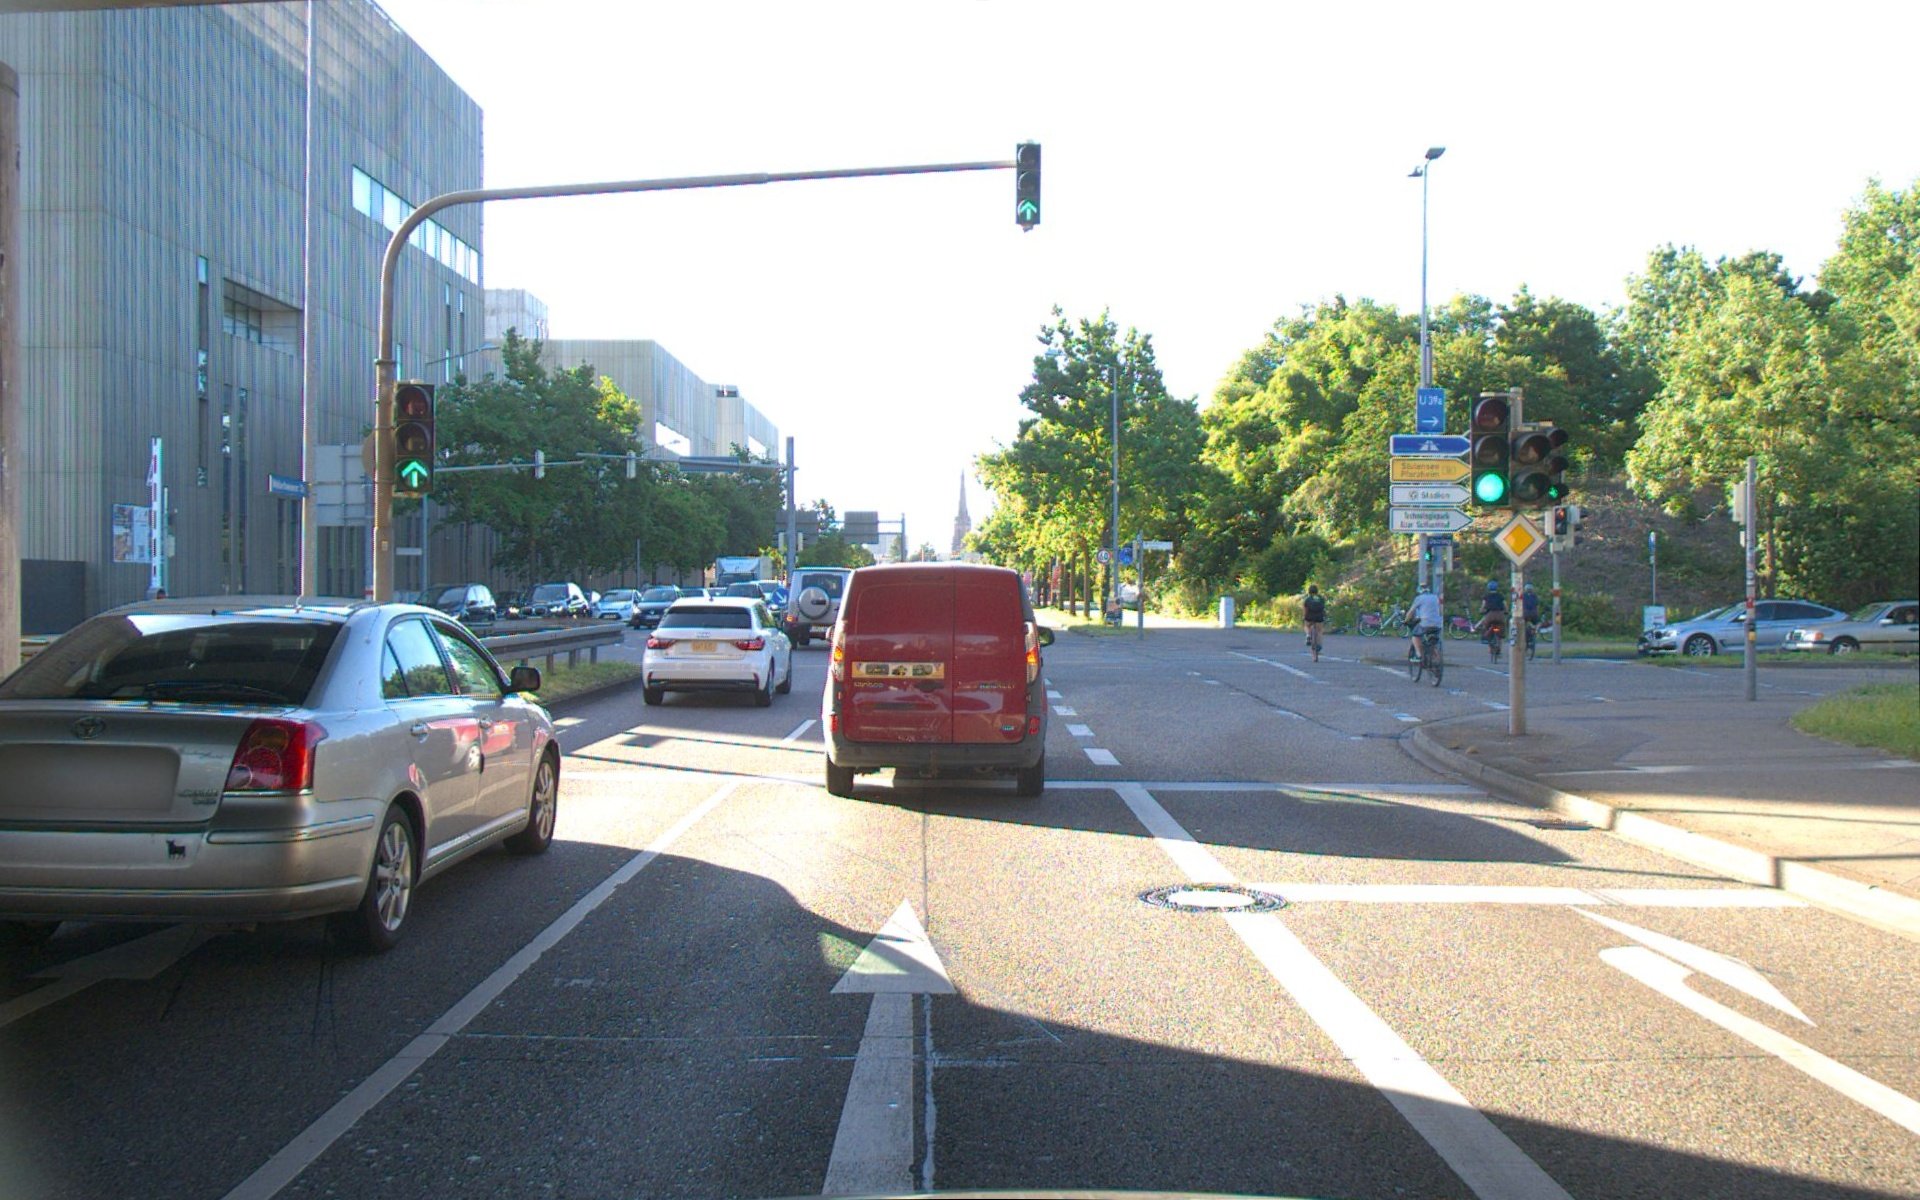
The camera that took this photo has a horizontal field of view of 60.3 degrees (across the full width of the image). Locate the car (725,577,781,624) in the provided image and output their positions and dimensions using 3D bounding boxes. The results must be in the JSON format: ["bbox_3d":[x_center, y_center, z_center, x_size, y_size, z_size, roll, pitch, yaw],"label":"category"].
[{"bbox_3d":[-8.489,0.015,68.055,1.721,1.828,4.082,-2,0,0],"label":"car"}]

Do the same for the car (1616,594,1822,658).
[{"bbox_3d":[19.360,0.660,42.334,4.452,1.540,1.829,1,-1,6],"label":"car"}]

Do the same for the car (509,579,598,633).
[{"bbox_3d":[-13.505,0.193,55.173,1.787,1.654,4.529,-2,0,0],"label":"car"}]

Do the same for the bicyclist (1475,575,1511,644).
[{"bbox_3d":[11.775,0.215,36.556,0.650,1.500,0.751,1,-1,11],"label":"bicyclist"}]

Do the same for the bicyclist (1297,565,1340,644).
[{"bbox_3d":[7.663,0.107,35.369,0.581,1.642,0.940,1,-1,-9],"label":"bicyclist"}]

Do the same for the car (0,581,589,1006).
[{"bbox_3d":[-3.141,0.712,8.036,1.697,1.506,4.318,0,-1,0],"label":"car"}]

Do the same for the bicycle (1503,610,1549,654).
[{"bbox_3d":[13.900,0.775,40.644,0.653,1.041,1.751,1,0,5],"label":"bicycle"}]

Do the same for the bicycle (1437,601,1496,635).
[{"bbox_3d":[15.992,0.562,52.218,1.707,1.041,0.594,1,-1,8],"label":"bicycle"}]

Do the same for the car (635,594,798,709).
[{"bbox_3d":[-3.314,0.654,23.154,1.776,1.463,3.730,1,0,-1],"label":"car"}]

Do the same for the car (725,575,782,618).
[{"bbox_3d":[-7.569,-0.138,60.841,1.602,1.468,3.718,-2,0,0],"label":"car"}]

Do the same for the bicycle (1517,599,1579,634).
[{"bbox_3d":[18.195,0.521,51.197,1.707,1.041,0.594,1,-1,10],"label":"bicycle"}]

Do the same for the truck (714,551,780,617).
[{"bbox_3d":[-10.609,-0.759,82.763,2.360,3.079,6.656,-2,0,0],"label":"truck"}]

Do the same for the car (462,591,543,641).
[{"bbox_3d":[-17.212,0.591,62.382,1.788,1.768,4.528,-2,0,-1],"label":"car"}]

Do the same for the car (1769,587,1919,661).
[{"bbox_3d":[20.501,0.550,36.430,4.452,1.540,1.829,1,-1,6],"label":"car"}]

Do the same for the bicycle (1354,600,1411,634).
[{"bbox_3d":[13.696,0.551,53.648,1.707,1.041,0.594,1,-1,8],"label":"bicycle"}]

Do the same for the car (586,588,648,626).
[{"bbox_3d":[-13.836,0.280,66.934,1.613,1.429,3.978,-2,0,0],"label":"car"}]

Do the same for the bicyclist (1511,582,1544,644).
[{"bbox_3d":[13.918,0.307,40.555,0.635,1.507,0.618,0,0,5],"label":"bicyclist"}]

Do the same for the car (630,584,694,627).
[{"bbox_3d":[-10.926,0.210,60.896,1.602,1.468,4.076,-2,0,0],"label":"car"}]

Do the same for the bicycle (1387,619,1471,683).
[{"bbox_3d":[7.935,0.850,28.053,0.581,1.041,1.744,1,-1,-14],"label":"bicycle"}]

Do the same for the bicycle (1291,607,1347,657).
[{"bbox_3d":[7.668,0.681,35.360,0.581,1.041,1.747,1,-1,-8],"label":"bicycle"}]

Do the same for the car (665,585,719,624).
[{"bbox_3d":[-10.748,0.187,66.454,1.603,1.468,4.075,-2,0,-2],"label":"car"}]

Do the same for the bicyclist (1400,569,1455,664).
[{"bbox_3d":[7.922,0.284,28.045,0.582,1.576,0.766,1,-1,-14],"label":"bicyclist"}]

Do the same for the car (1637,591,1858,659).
[{"bbox_3d":[18.915,0.603,39.871,4.452,1.540,1.829,1,-1,6],"label":"car"}]

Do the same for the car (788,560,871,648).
[{"bbox_3d":[-3.192,0.139,41.256,1.764,2.023,4.587,1,-1,-1],"label":"car"}]

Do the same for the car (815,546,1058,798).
[{"bbox_3d":[-0.212,0.570,14.196,1.768,1.826,3.998,1,-1,-1],"label":"car"}]

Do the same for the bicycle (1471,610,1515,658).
[{"bbox_3d":[11.775,0.754,36.582,0.657,1.041,2.057,1,-1,11],"label":"bicycle"}]

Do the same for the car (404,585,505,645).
[{"bbox_3d":[-16.098,0.469,52.896,1.788,1.768,4.628,-2,0,-1],"label":"car"}]
